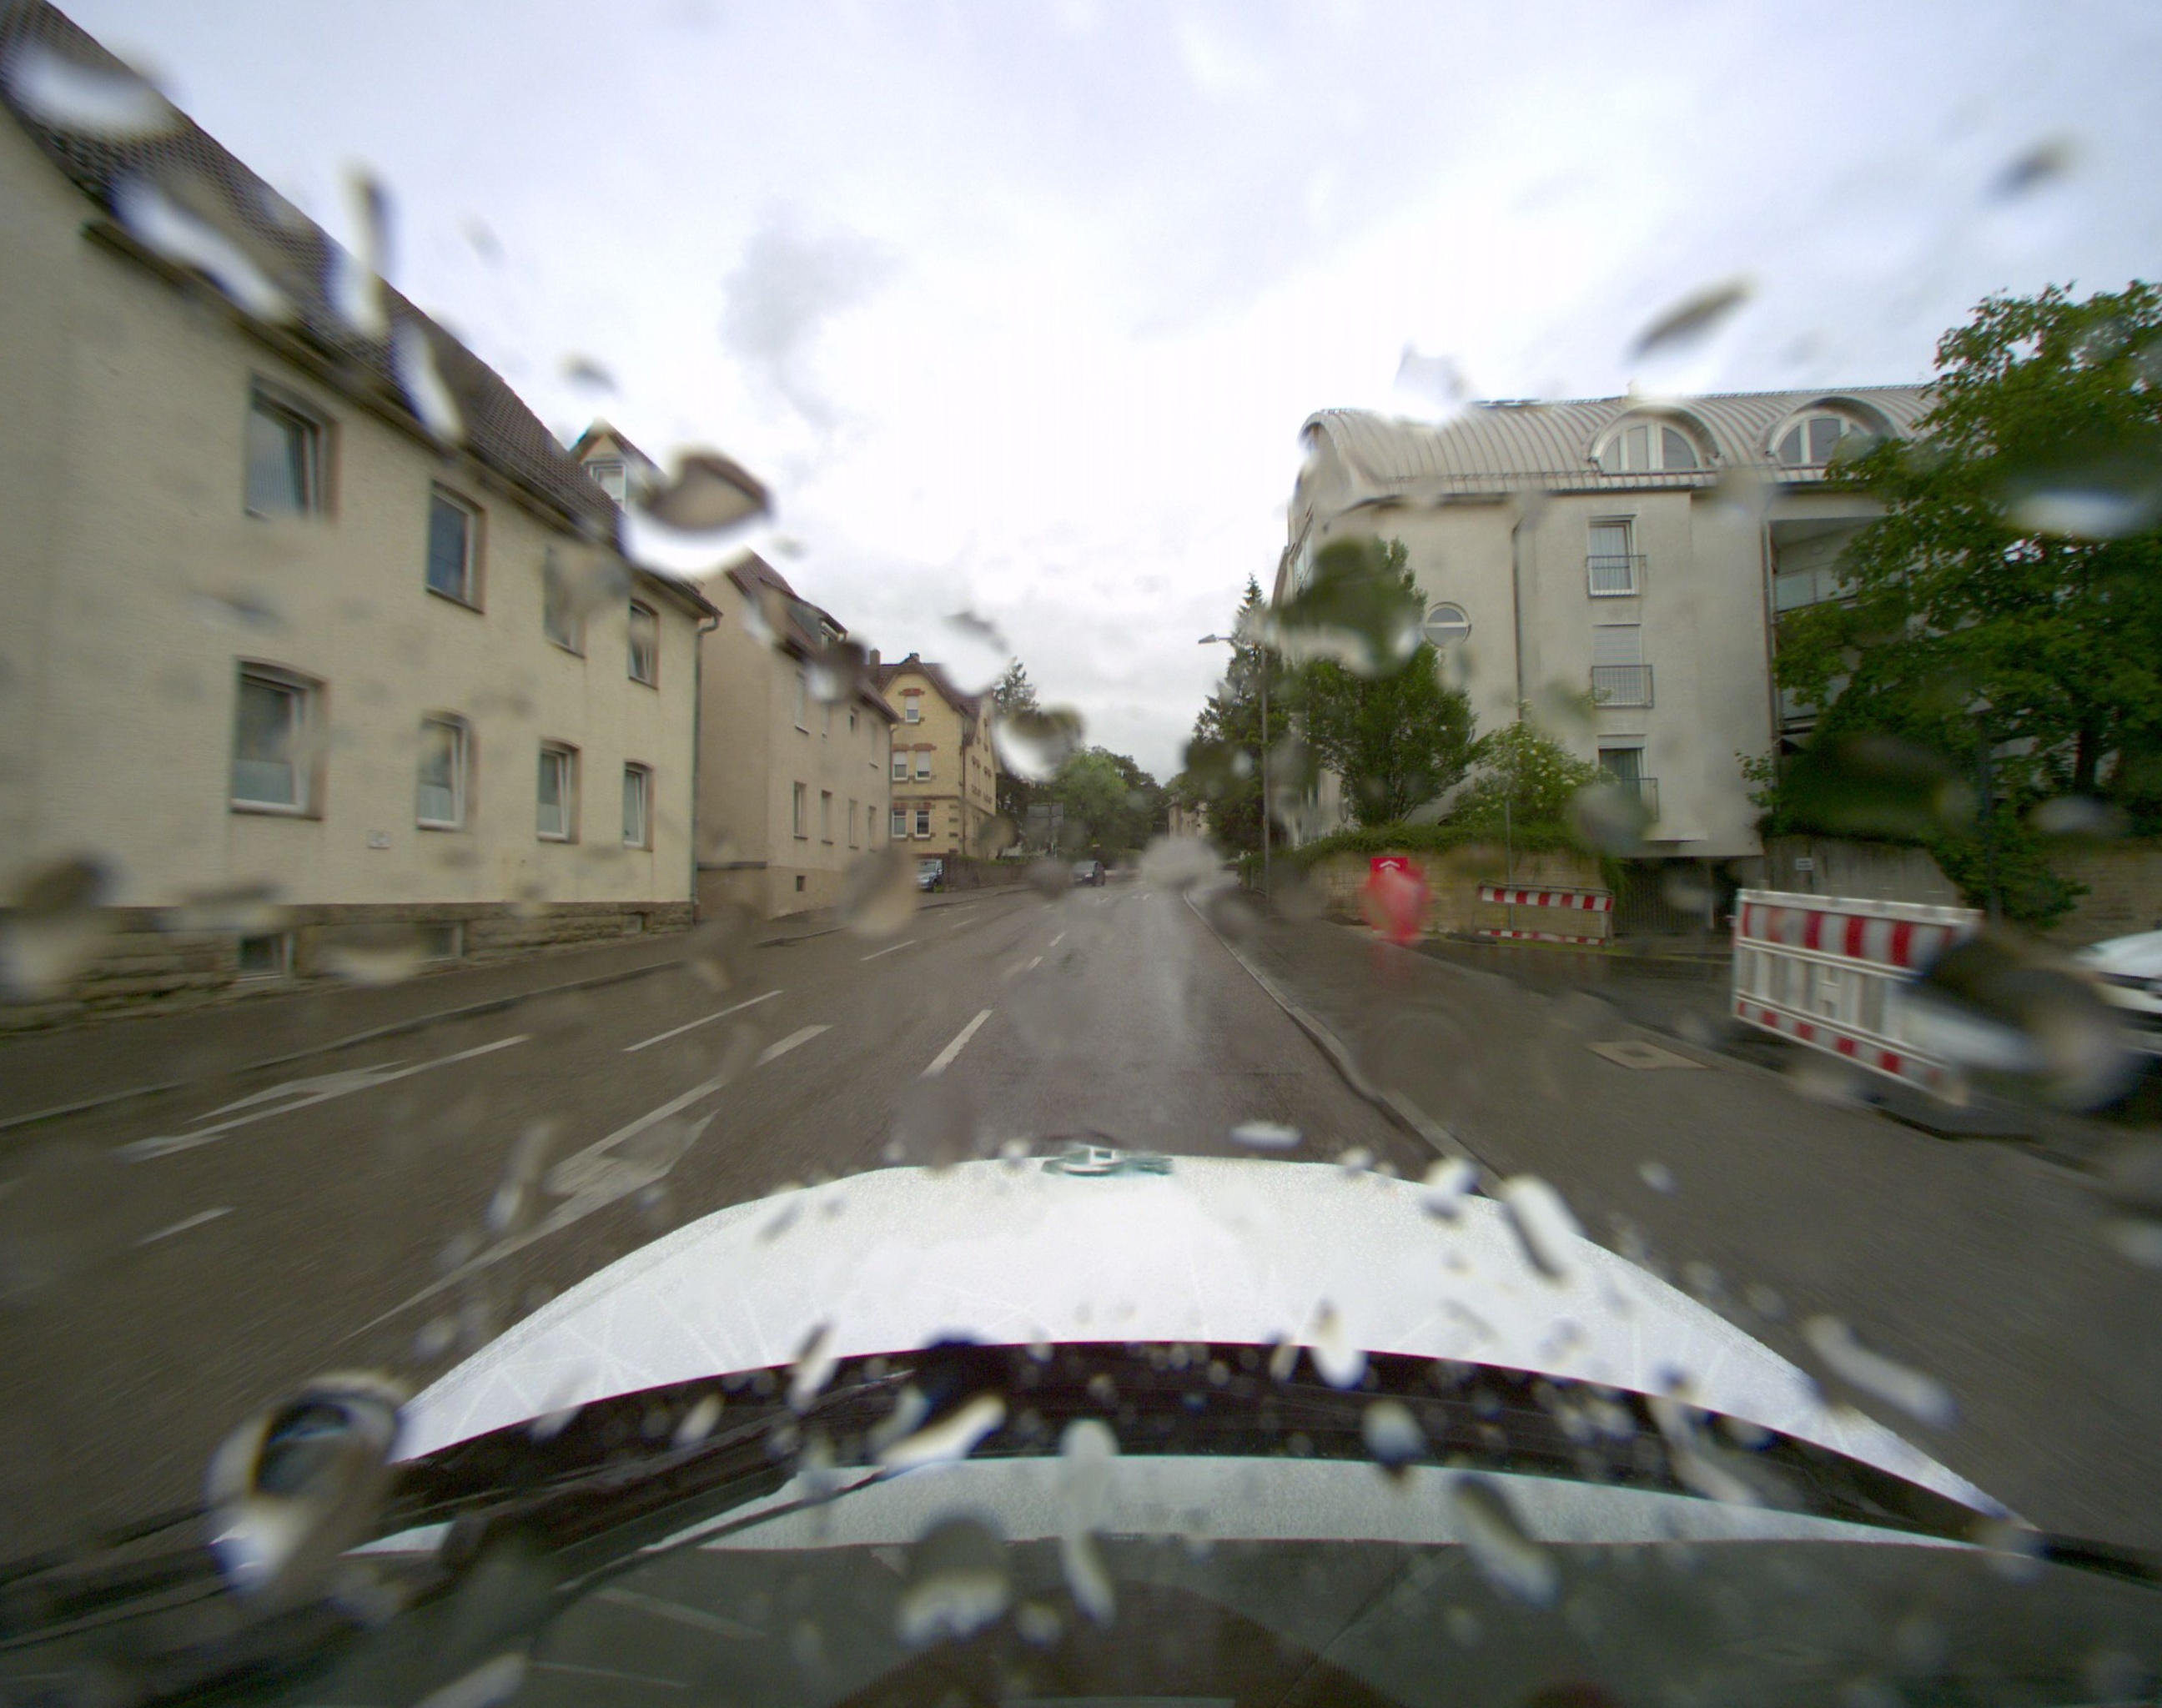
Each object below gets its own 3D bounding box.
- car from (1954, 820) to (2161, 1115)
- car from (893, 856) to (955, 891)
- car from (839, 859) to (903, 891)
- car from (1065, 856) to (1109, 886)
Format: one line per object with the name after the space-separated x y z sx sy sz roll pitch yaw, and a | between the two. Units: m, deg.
7.347 0.589 4.228 3.651 1.503 1.778 0 0 3 | car
-7.208 0.855 37.858 1.762 1.503 3.889 0 0 6 | car
-9.836 0.944 38.482 1.763 1.367 3.887 0 0 4 | car
0.378 0.965 46.735 1.733 1.571 3.825 2 0 12 | car
